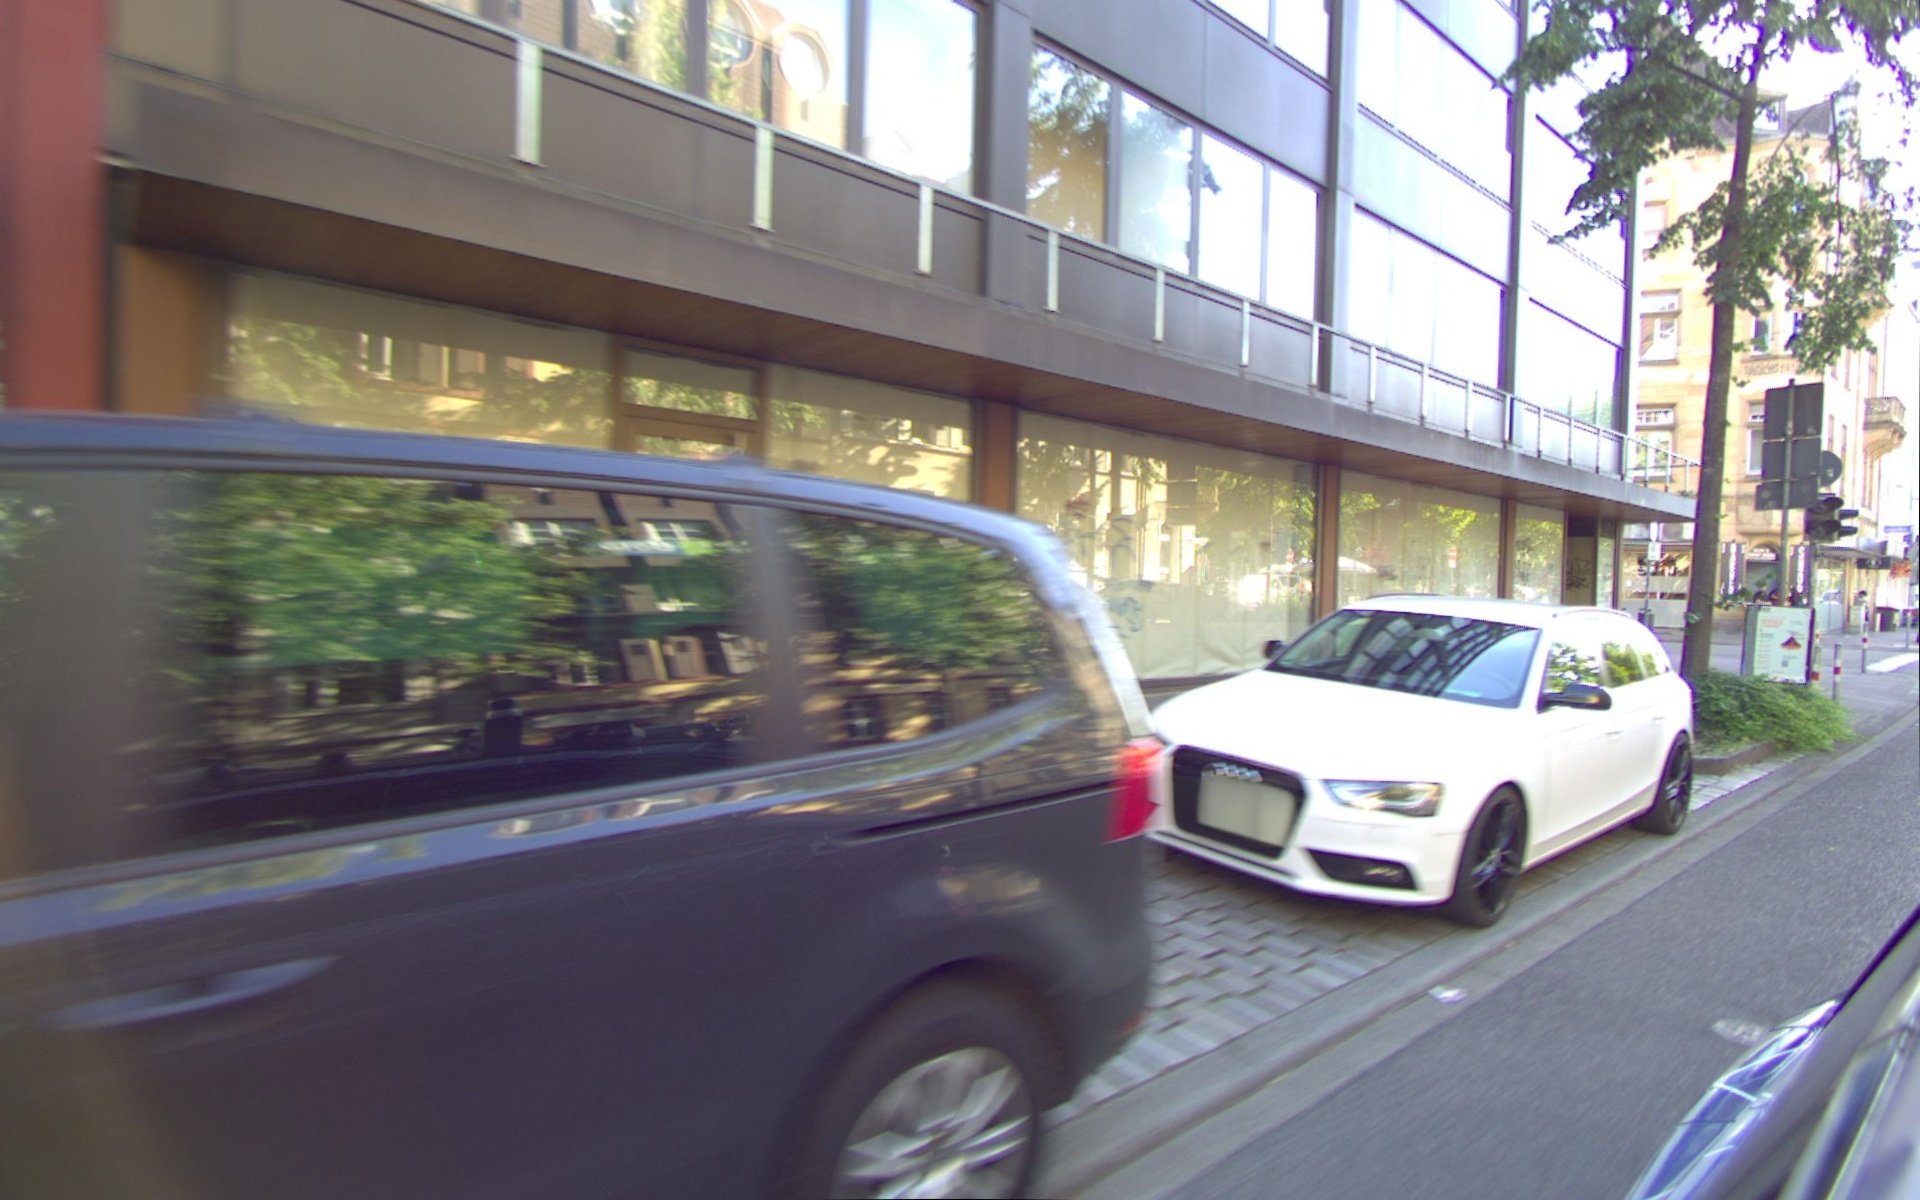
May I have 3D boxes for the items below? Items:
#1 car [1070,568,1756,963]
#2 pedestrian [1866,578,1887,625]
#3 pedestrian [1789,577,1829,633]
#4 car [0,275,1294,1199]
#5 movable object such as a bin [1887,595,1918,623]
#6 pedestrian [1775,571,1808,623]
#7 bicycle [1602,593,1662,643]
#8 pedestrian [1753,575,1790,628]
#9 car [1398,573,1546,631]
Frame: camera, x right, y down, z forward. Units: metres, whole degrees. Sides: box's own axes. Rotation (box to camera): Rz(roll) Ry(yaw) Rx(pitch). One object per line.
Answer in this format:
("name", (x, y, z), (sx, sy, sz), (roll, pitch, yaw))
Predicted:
("car", (3.001, 0.616, 6.092), (4.756, 1.419, 1.827), (0, 4, -40))
("pedestrian", (35.574, 0.052, 39.276), (0.588, 1.764, 0.534), (0, 1, -45))
("pedestrian", (26.837, 0.146, 31.981), (0.663, 1.712, 0.619), (1, 3, 3))
("car", (-1.676, 0.471, 1.840), (4.839, 1.799, 1.828), (0, 4, -37))
("movable object such as a bin", (39.912, 0.382, 42.848), (0.650, 1.061, 0.727), (3, 3, -30))
("pedestrian", (27.686, -0.115, 33.710), (0.701, 1.713, 0.500), (0, 1, -13))
("bicycle", (16.717, 0.428, 25.205), (0.564, 1.176, 1.740), (2, 1, 10))
("pedestrian", (26.703, 0.034, 33.299), (0.701, 1.713, 0.621), (0, 1, -13))
("car", (16.986, 0.031, 33.776), (4.274, 1.793, 1.983), (1, 1, 26))
